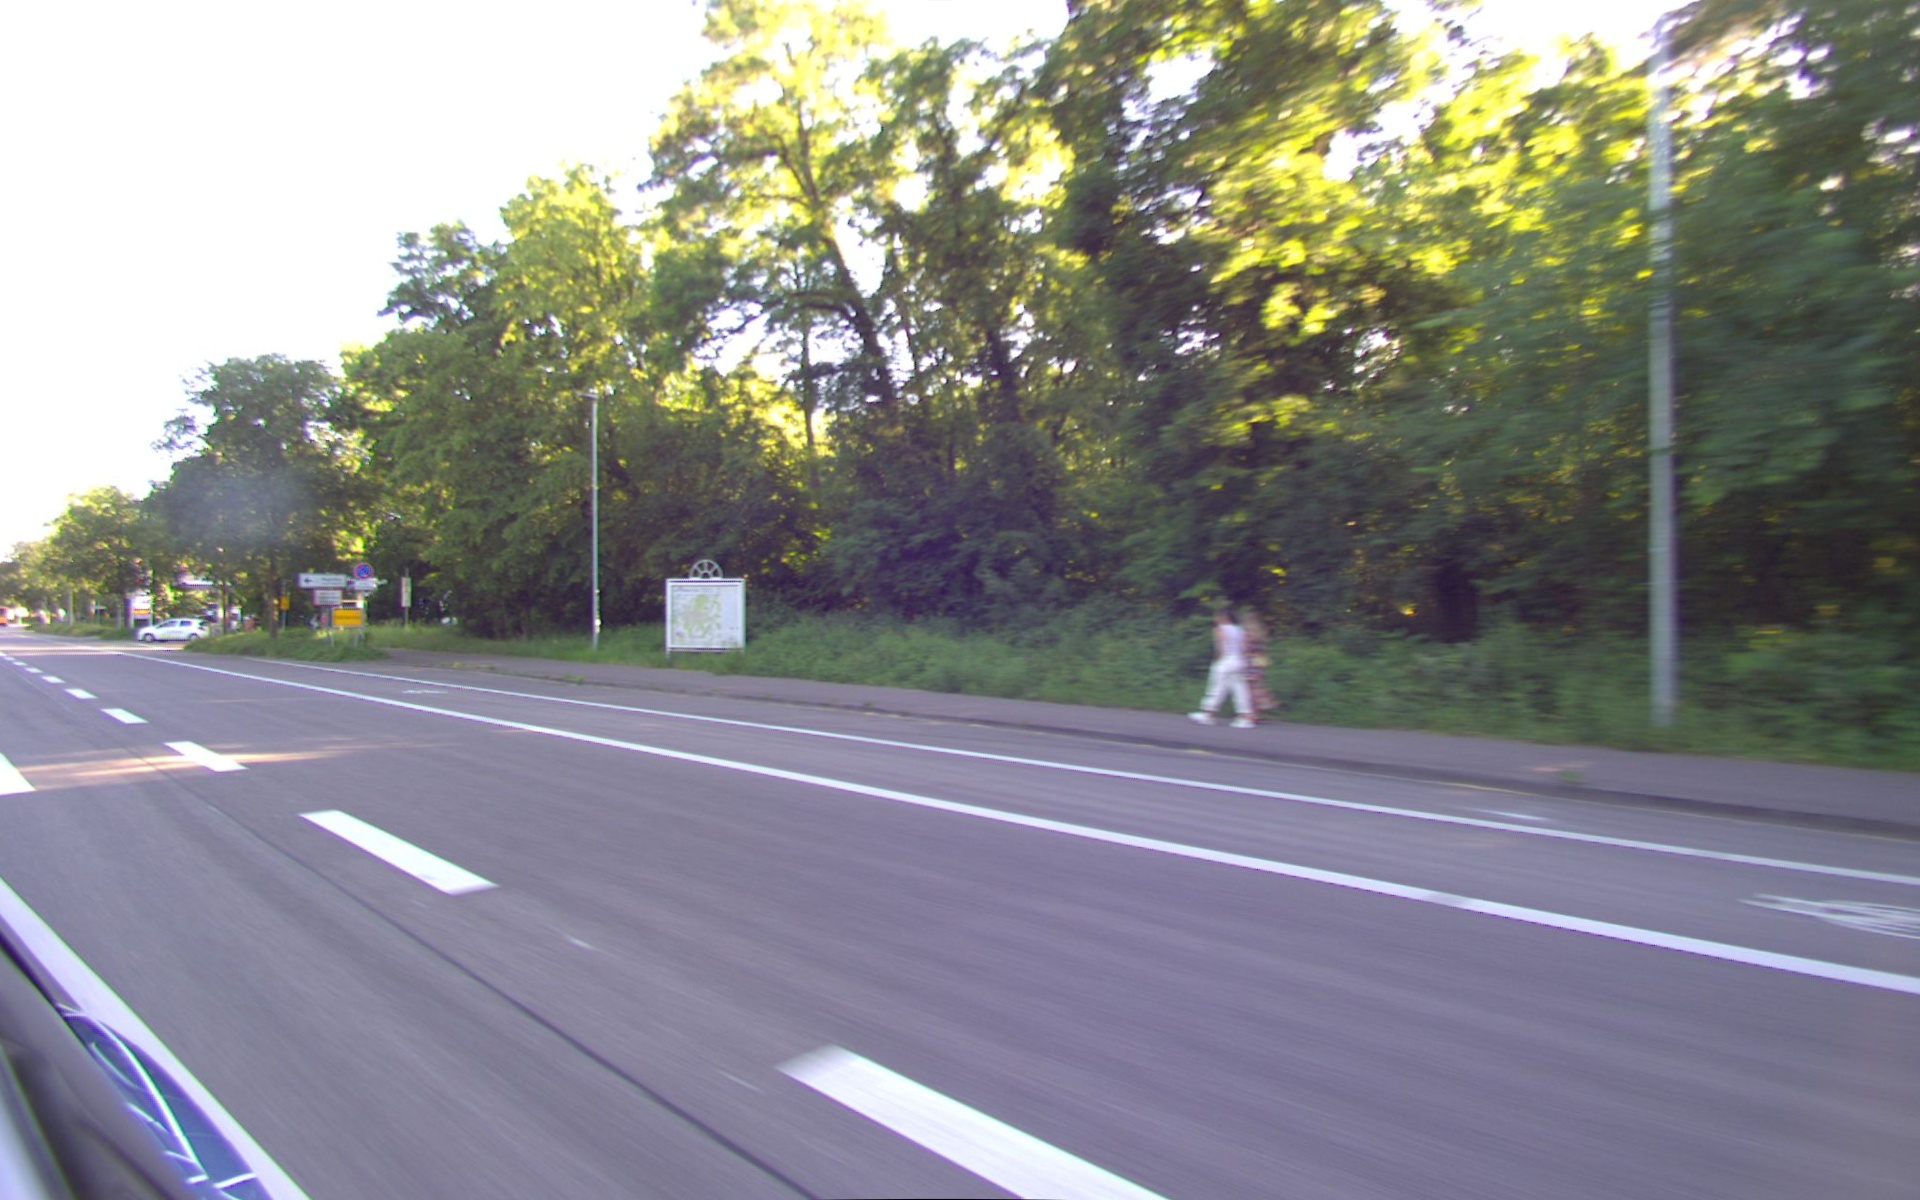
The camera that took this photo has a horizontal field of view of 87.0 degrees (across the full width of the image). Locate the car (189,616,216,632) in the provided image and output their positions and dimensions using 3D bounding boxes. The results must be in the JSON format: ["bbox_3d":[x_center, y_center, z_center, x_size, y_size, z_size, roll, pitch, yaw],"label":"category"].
[{"bbox_3d":[-76.490,2.407,102.150,1.734,1.653,3.614,1,-2,-45],"label":"car"}]

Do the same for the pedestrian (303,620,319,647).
[{"bbox_3d":[-45.994,2.365,71.729,0.820,1.833,0.738,0,-1,-17],"label":"pedestrian"}]

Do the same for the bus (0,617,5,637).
[{"bbox_3d":[-168.163,4.713,175.101,9.471,3.434,3.000,-1,-1,39],"label":"bus"}]

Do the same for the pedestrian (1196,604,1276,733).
[{"bbox_3d":[3.692,0.890,13.566,0.666,1.666,0.791,1,-2,-42],"label":"pedestrian"}]

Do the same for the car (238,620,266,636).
[{"bbox_3d":[-72.190,2.828,103.146,1.734,1.653,3.840,1,-2,-45],"label":"car"}]

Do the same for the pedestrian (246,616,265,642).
[{"bbox_3d":[-49.477,2.056,71.045,0.825,1.833,0.735,0,-1,7],"label":"pedestrian"}]

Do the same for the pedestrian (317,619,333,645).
[{"bbox_3d":[-44.978,2.292,71.684,0.820,1.833,0.738,0,-1,-17],"label":"pedestrian"}]

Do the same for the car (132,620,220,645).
[{"bbox_3d":[-48.210,1.992,62.298,3.877,1.537,1.836,0,-1,-14],"label":"car"}]

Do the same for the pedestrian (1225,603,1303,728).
[{"bbox_3d":[4.209,0.881,14.010,0.666,1.666,0.791,1,-2,-42],"label":"pedestrian"}]
